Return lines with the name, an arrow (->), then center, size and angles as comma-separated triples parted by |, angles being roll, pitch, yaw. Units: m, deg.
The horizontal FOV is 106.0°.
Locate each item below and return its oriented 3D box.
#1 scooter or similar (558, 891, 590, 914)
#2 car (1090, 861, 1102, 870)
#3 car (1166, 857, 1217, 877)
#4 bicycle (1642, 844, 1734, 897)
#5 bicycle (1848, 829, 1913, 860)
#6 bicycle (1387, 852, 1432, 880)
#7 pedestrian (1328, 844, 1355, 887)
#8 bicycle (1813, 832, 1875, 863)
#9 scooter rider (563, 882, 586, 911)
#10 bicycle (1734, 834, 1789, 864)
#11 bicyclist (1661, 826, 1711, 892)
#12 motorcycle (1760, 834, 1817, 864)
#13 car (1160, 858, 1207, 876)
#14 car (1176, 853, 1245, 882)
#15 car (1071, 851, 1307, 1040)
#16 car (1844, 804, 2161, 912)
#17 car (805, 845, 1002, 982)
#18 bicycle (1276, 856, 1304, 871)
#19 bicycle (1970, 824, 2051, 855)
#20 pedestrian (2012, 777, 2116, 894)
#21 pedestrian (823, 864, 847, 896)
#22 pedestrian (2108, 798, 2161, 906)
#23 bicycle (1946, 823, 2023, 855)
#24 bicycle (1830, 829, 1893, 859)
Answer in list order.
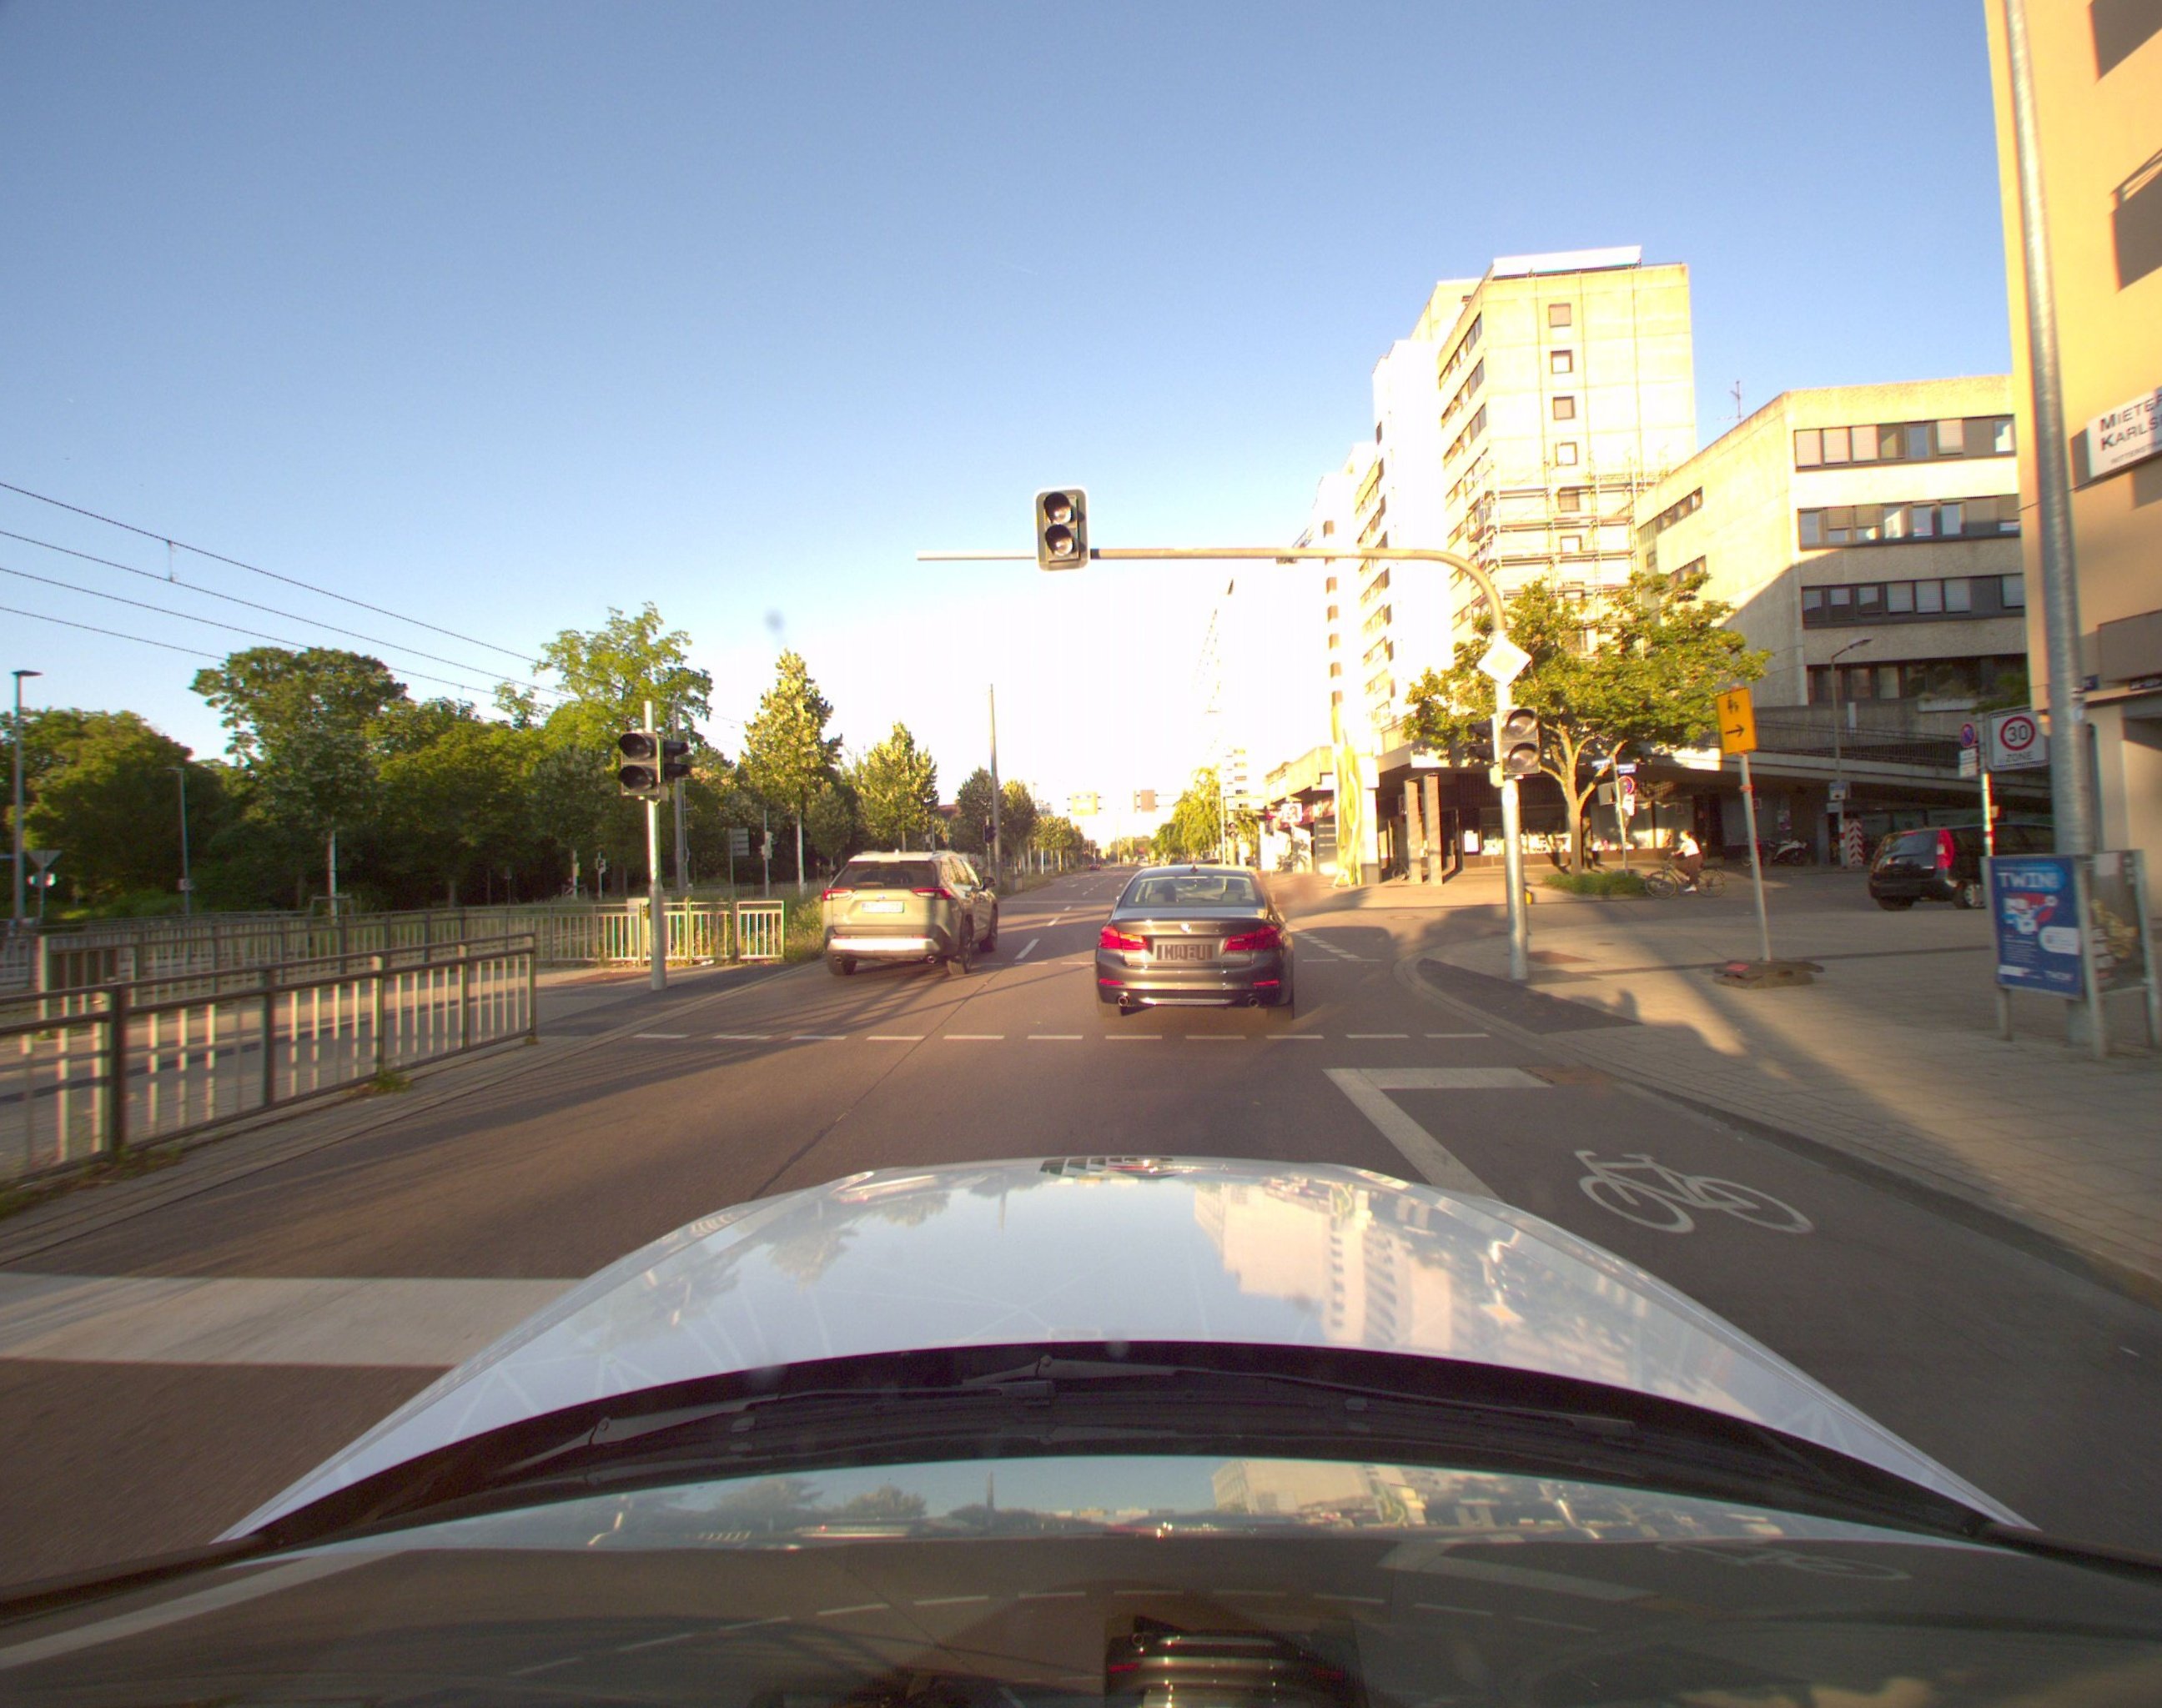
scooter or similar -> -27.219, 2.585, 43.765 | 0.507, 1.153, 1.342 | -3, -1, 37
car -> 2.570, 1.952, 140.220 | 1.971, 1.433, 4.845 | -1, 1, 2
car -> 9.790, 1.107, 72.015 | 4.285, 1.658, 1.841 | -1, 1, -34
bicycle -> 15.924, 0.444, 21.407 | 1.767, 1.310, 0.656 | -3, -1, 18
bicycle -> 29.718, -0.340, 30.299 | 0.578, 1.075, 1.979 | 1, -1, 4
bicycle -> 13.865, 0.514, 34.419 | 0.690, 1.149, 2.011 | 1, -2, -17
pedestrian -> 10.741, 0.469, 33.629 | 0.832, 1.712, 0.648 | -2, -1, 0
bicycle -> 28.452, -0.228, 30.393 | 0.578, 1.075, 1.979 | 1, -1, 4
scooter rider -> -27.236, 2.278, 43.800 | 0.644, 1.514, 0.828 | -3, -1, 37
bicycle -> 26.393, -0.178, 31.616 | 0.578, 1.075, 1.979 | 1, -1, 4
bicyclist -> 15.872, 0.125, 21.386 | 0.812, 1.681, 0.655 | -3, -1, 15
motorcycle -> 27.052, -0.180, 31.184 | 0.642, 1.075, 1.879 | 1, -1, 4
car -> 9.869, 1.232, 78.347 | 4.284, 1.658, 1.841 | -1, 1, -33
car -> 7.938, 0.788, 49.719 | 4.291, 1.658, 1.838 | -1, 1, -41
car -> 1.277, 0.747, 8.971 | 1.920, 1.481, 4.535 | -1, 1, 10
car -> 16.736, 0.112, 14.689 | 4.020, 1.585, 1.708 | -4, -4, 6
car -> -2.395, 0.709, 12.173 | 1.847, 1.658, 4.270 | -1, 1, 2
bicycle -> 15.901, 0.722, 62.024 | 2.005, 1.149, 0.692 | 1, -2, 8
bicycle -> 34.712, -0.507, 30.449 | 0.581, 1.075, 1.970 | 1, -1, -10
pedestrian -> 16.005, -0.299, 13.277 | 0.832, 1.828, 0.648 | -2, -1, 0
pedestrian -> -12.564, 1.319, 41.623 | 0.828, 1.586, 0.815 | -3, -1, 16
pedestrian -> 16.292, -0.043, 12.235 | 0.832, 1.586, 0.648 | -2, -1, 0
bicycle -> 33.471, -0.533, 30.214 | 0.580, 1.075, 1.974 | 1, -1, -4
bicycle -> 29.171, -0.357, 30.467 | 0.578, 1.075, 1.979 | 1, -1, 4
